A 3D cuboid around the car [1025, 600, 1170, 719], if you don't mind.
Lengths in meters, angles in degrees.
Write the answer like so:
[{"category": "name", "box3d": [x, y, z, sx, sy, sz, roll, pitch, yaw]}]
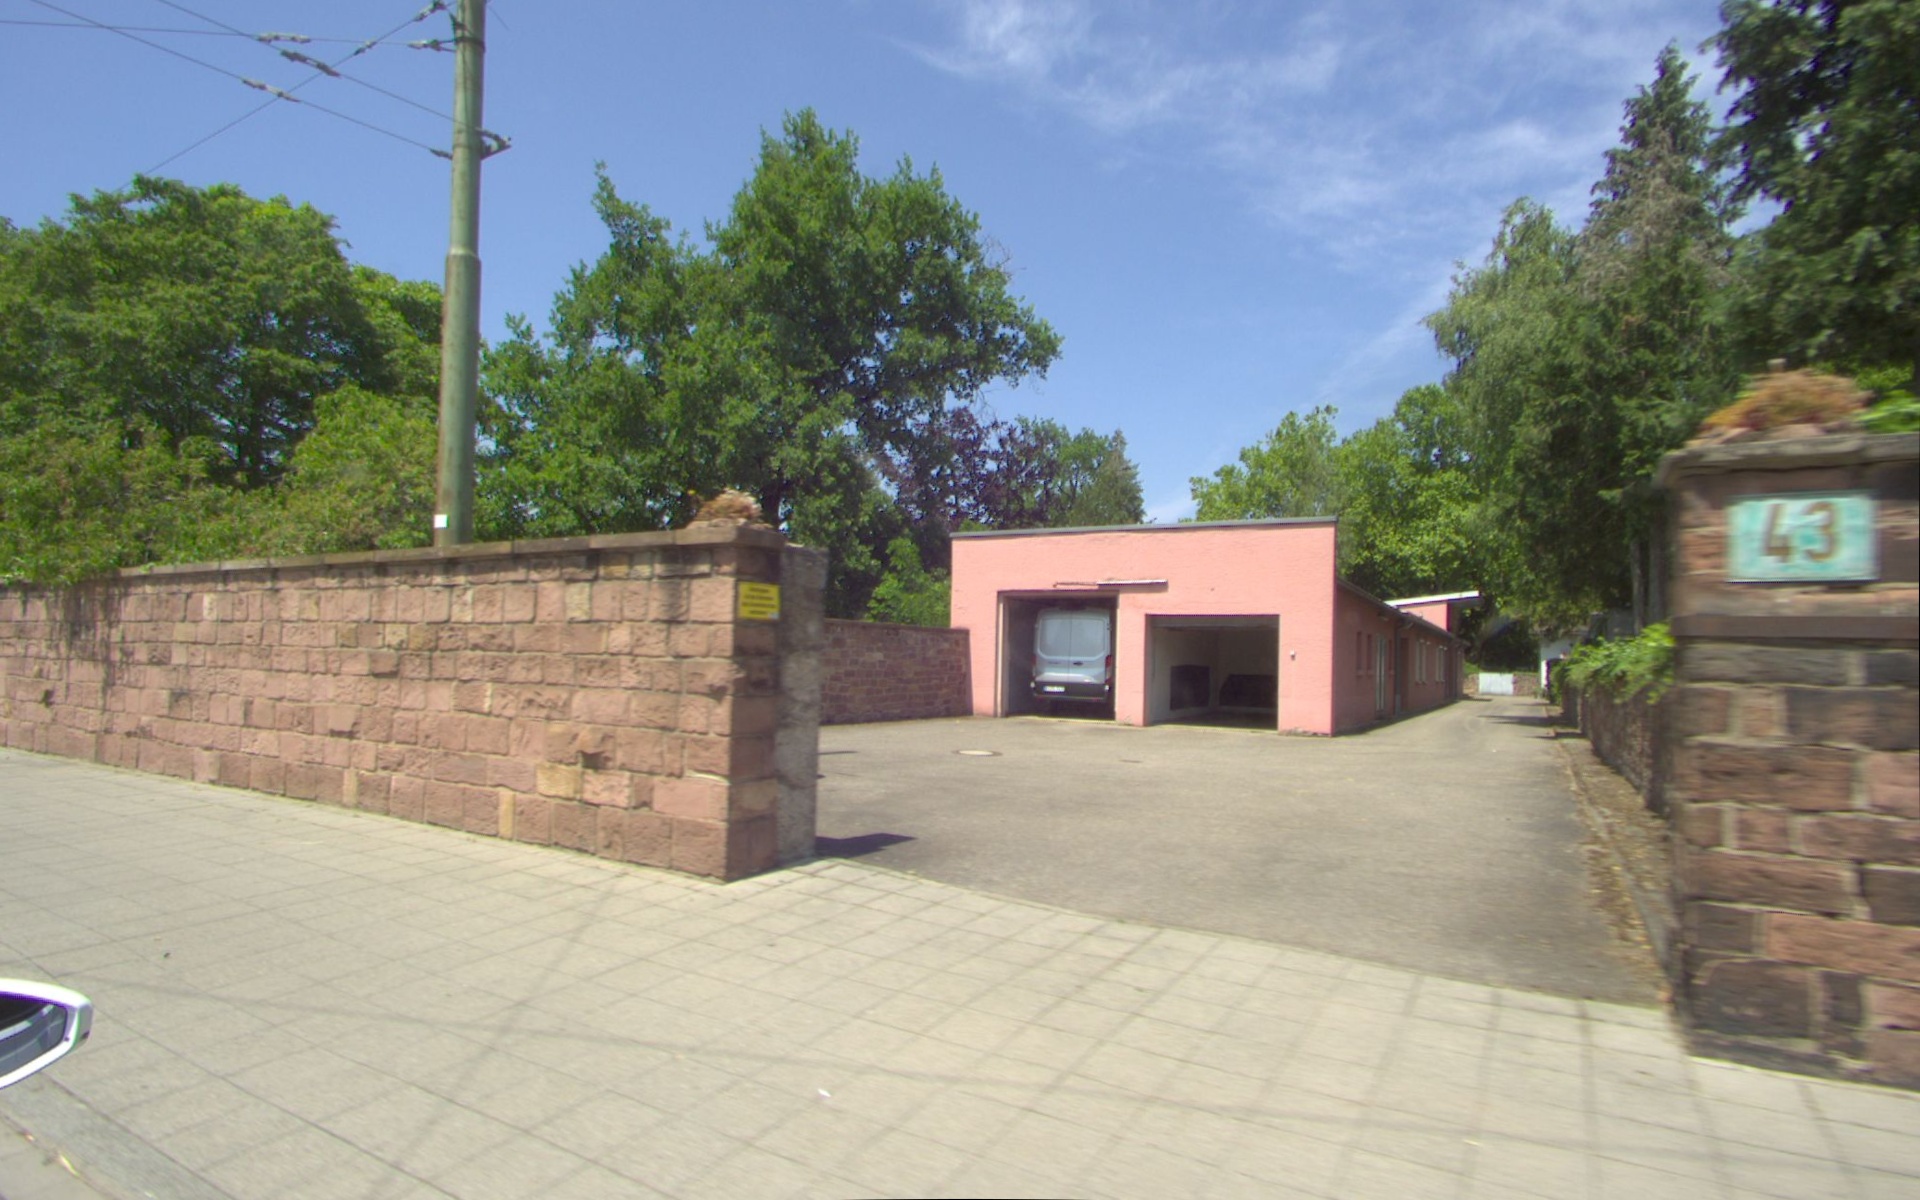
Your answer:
[{"category": "car", "box3d": [3.447, 1.485, 24.272, 1.969, 2.572, 4.641, -1, -4, 28]}]
